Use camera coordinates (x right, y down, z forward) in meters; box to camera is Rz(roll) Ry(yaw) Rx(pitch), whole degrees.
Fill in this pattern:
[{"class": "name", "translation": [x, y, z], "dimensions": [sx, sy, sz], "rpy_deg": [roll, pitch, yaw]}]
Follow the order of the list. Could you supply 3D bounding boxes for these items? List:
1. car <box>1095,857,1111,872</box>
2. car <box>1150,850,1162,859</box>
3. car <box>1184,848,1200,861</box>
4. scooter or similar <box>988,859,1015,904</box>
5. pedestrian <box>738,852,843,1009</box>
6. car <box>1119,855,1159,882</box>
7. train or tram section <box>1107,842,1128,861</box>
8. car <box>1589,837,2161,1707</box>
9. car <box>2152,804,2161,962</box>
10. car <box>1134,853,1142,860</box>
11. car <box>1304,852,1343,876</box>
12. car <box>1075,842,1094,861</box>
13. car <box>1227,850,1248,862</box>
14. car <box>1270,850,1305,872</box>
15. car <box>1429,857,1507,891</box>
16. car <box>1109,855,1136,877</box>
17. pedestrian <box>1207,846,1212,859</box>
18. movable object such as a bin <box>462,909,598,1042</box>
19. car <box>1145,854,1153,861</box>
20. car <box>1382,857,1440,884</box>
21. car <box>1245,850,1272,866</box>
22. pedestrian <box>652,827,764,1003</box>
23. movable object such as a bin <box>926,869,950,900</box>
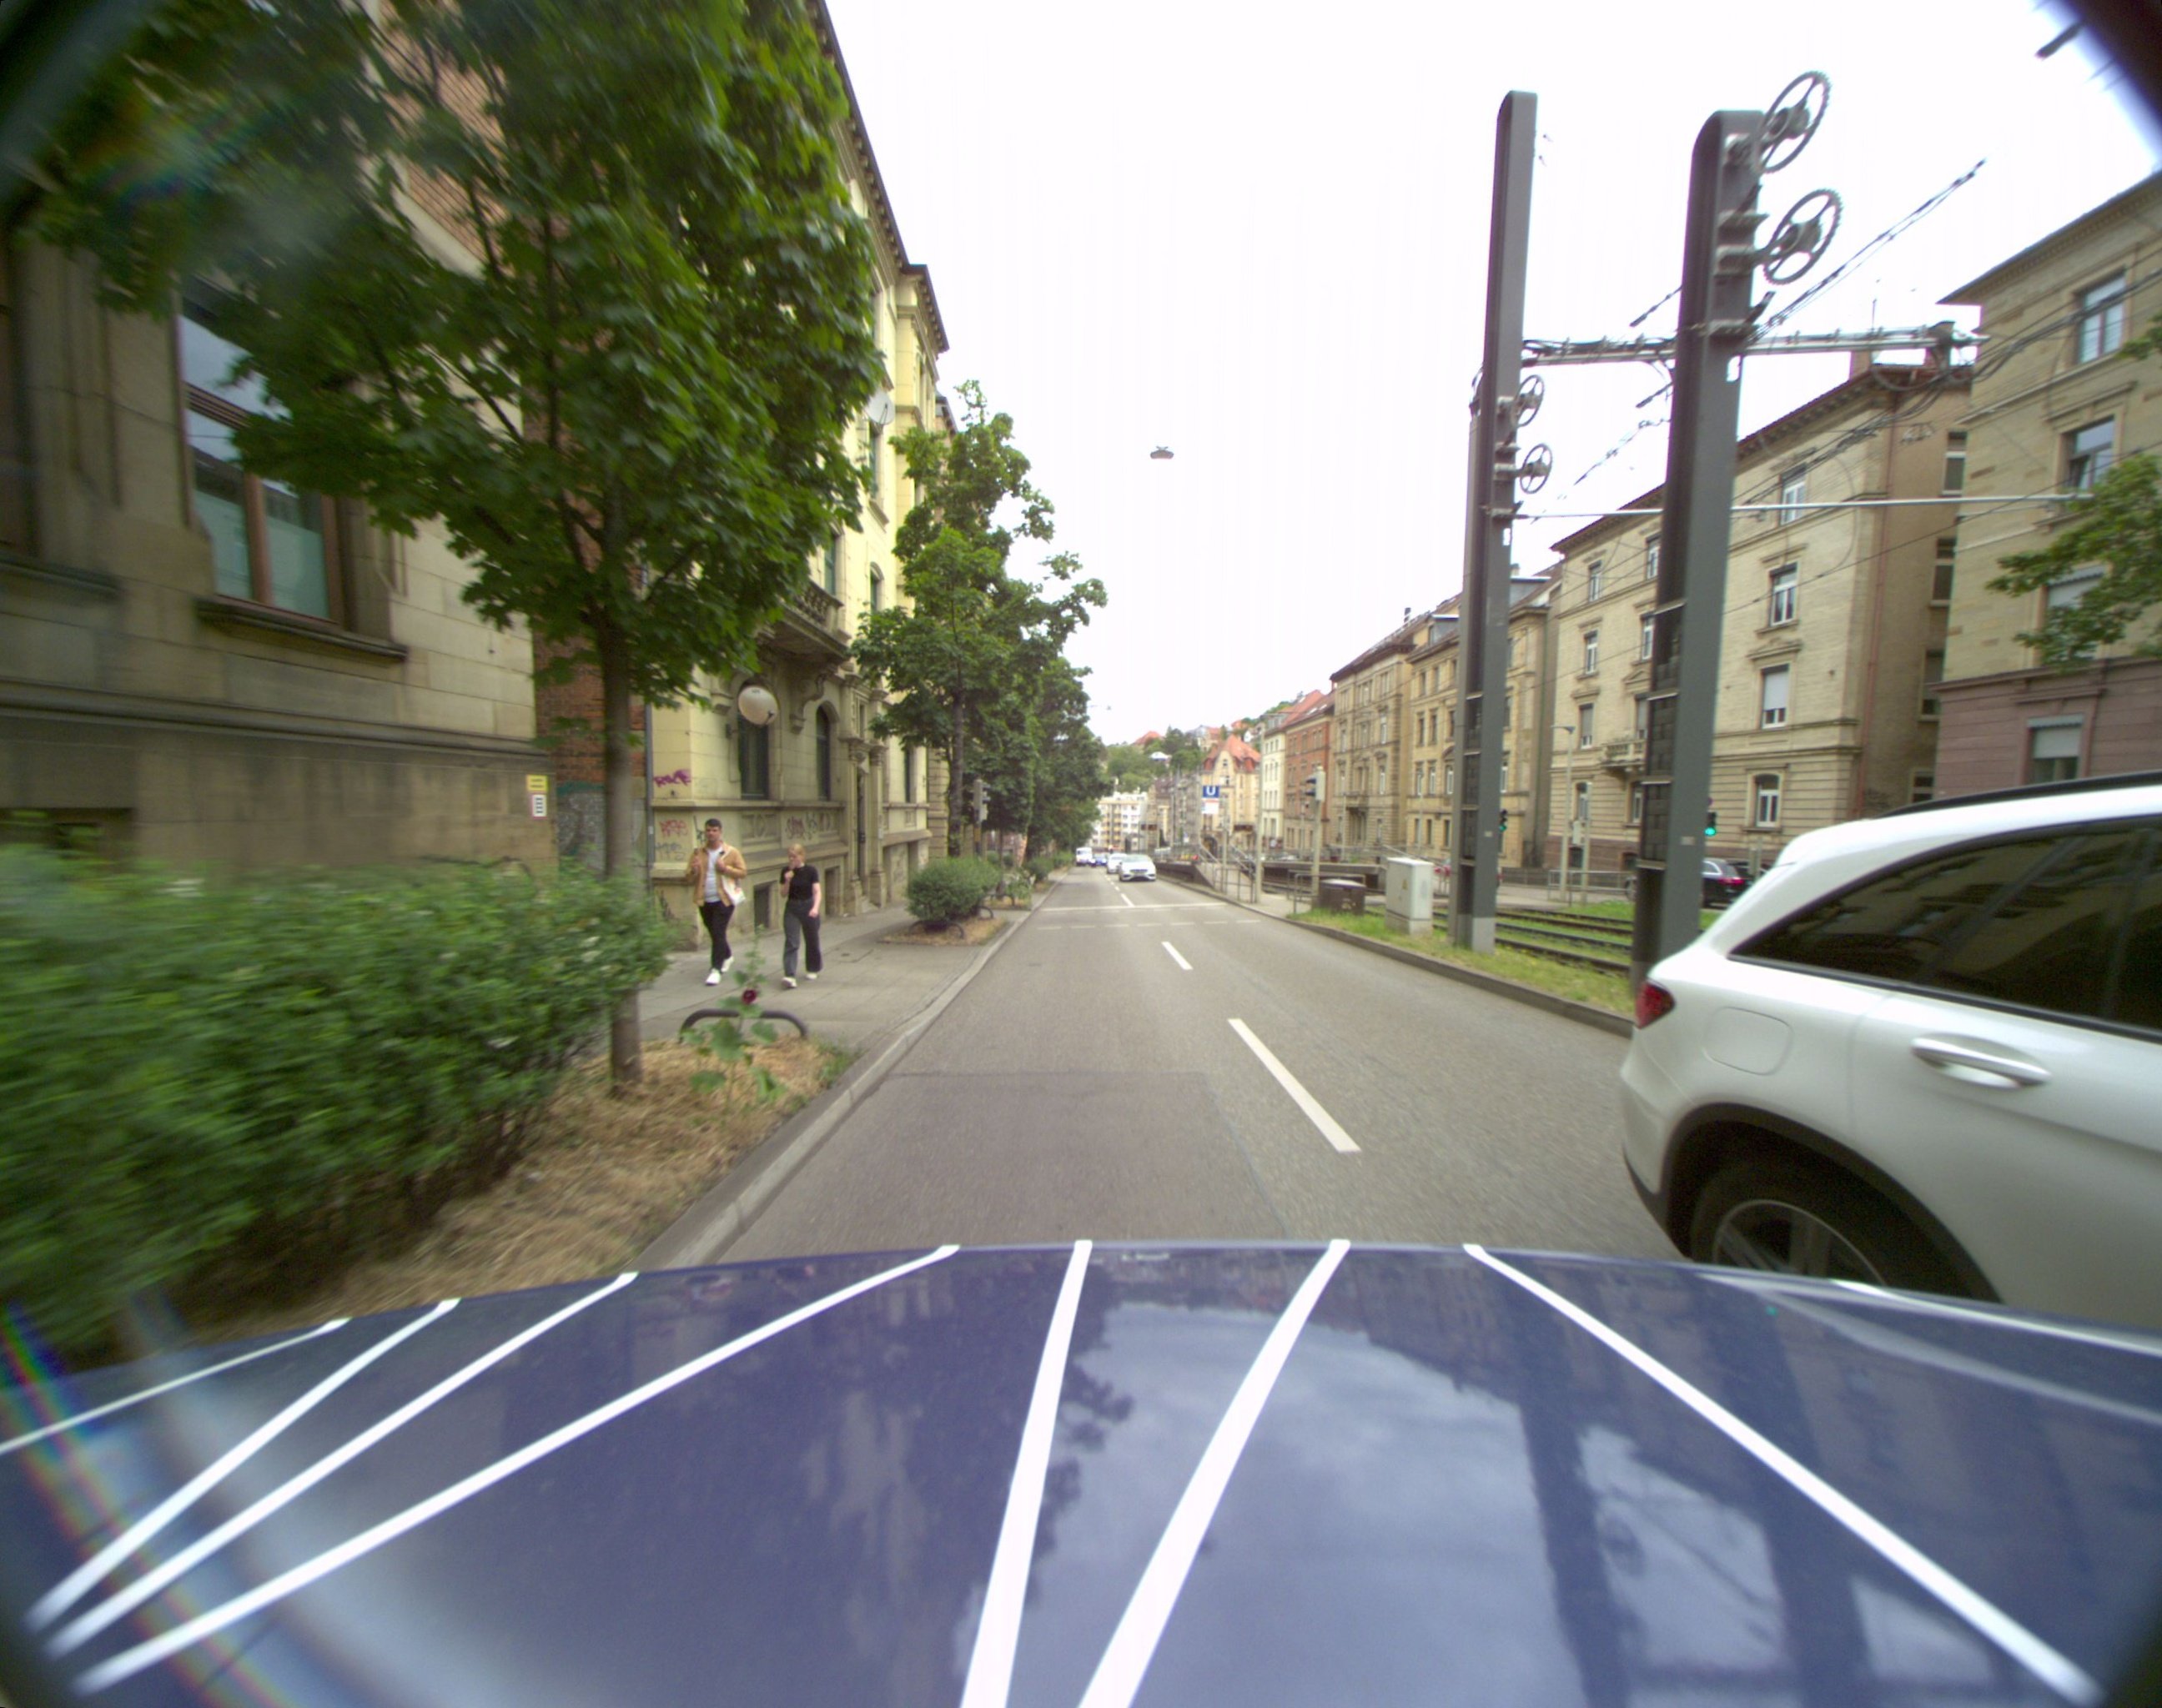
[{"class": "car", "translation": [2.331, 1.112, 81.863], "dimensions": [1.694, 1.466, 3.857], "rpy_deg": [0, 0, 1]}, {"class": "car", "translation": [16.466, 0.145, 167.299], "dimensions": [1.999, 1.884, 4.414], "rpy_deg": [0, 0, -1]}, {"class": "car", "translation": [19.806, 0.025, 135.819], "dimensions": [1.998, 2.291, 5.455], "rpy_deg": [0, 0, 1]}, {"class": "scooter or similar", "translation": [-2.470, 0.845, 23.719], "dimensions": [0.663, 1.296, 1.383], "rpy_deg": [2, 1, 0]}, {"class": "pedestrian", "translation": [-3.209, 0.794, 8.496], "dimensions": [0.687, 1.566, 1.216], "rpy_deg": [2, 3, 1]}, {"class": "car", "translation": [3.054, 0.742, 40.833], "dimensions": [1.806, 1.391, 4.000], "rpy_deg": [-1, 0, 0]}, {"class": "train or tram section", "translation": [6.813, -0.437, 143.962], "dimensions": [2.968, 3.456, 14.407], "rpy_deg": [1, 0, -1]}, {"class": "car", "translation": [2.557, 0.824, 0.148], "dimensions": [1.840, 1.657, 4.670], "rpy_deg": [-1, 1, 1]}, {"class": "car", "translation": [16.722, 0.313, 7.894], "dimensions": [2.396, 2.684, 6.522], "rpy_deg": [2, 1, 8]}, {"class": "car", "translation": [15.699, 0.695, 209.456], "dimensions": [1.827, 1.754, 3.864], "rpy_deg": [0, 0, 2]}, {"class": "car", "translation": [19.900, 0.781, 62.520], "dimensions": [1.853, 1.849, 4.138], "rpy_deg": [0, 0, 1]}, {"class": "car", "translation": [0.486, -0.326, 96.015], "dimensions": [2.263, 2.274, 5.967], "rpy_deg": [-1, 0, 0]}, {"class": "car", "translation": [20.092, 0.297, 97.505], "dimensions": [1.883, 1.519, 4.000], "rpy_deg": [1, 0, 1]}, {"class": "car", "translation": [16.991, 0.543, 62.645], "dimensions": [1.713, 1.725, 4.576], "rpy_deg": [0, 0, 1]}, {"class": "car", "translation": [16.868, 0.834, 33.284], "dimensions": [1.580, 1.369, 3.655], "rpy_deg": [0, 0, 1]}, {"class": "car", "translation": [3.068, 0.868, 56.897], "dimensions": [1.806, 1.542, 4.000], "rpy_deg": [-1, 0, 0]}, {"class": "pedestrian", "translation": [14.954, -0.184, 88.337], "dimensions": [0.463, 1.553, 0.540], "rpy_deg": [0, 1, 0]}, {"class": "movable object such as a bin", "translation": [-4.591, 0.995, 6.371], "dimensions": [0.672, 1.010, 0.582], "rpy_deg": [2, -1, -2]}, {"class": "car", "translation": [17.143, 0.794, 190.771], "dimensions": [1.827, 1.754, 3.864], "rpy_deg": [0, 0, 2]}, {"class": "car", "translation": [19.533, 0.934, 45.152], "dimensions": [1.682, 1.439, 4.218], "rpy_deg": [1, 0, 2]}, {"class": "car", "translation": [19.287, 0.437, 82.688], "dimensions": [1.940, 1.670, 4.000], "rpy_deg": [1, 0, 0]}, {"class": "pedestrian", "translation": [-4.157, 0.628, 8.540], "dimensions": [0.687, 1.820, 1.121], "rpy_deg": [2, 3, 1]}, {"class": "movable object such as a bin", "translation": [-4.451, 0.940, 23.658], "dimensions": [0.613, 0.914, 0.493], "rpy_deg": [2, 1, 3]}]
